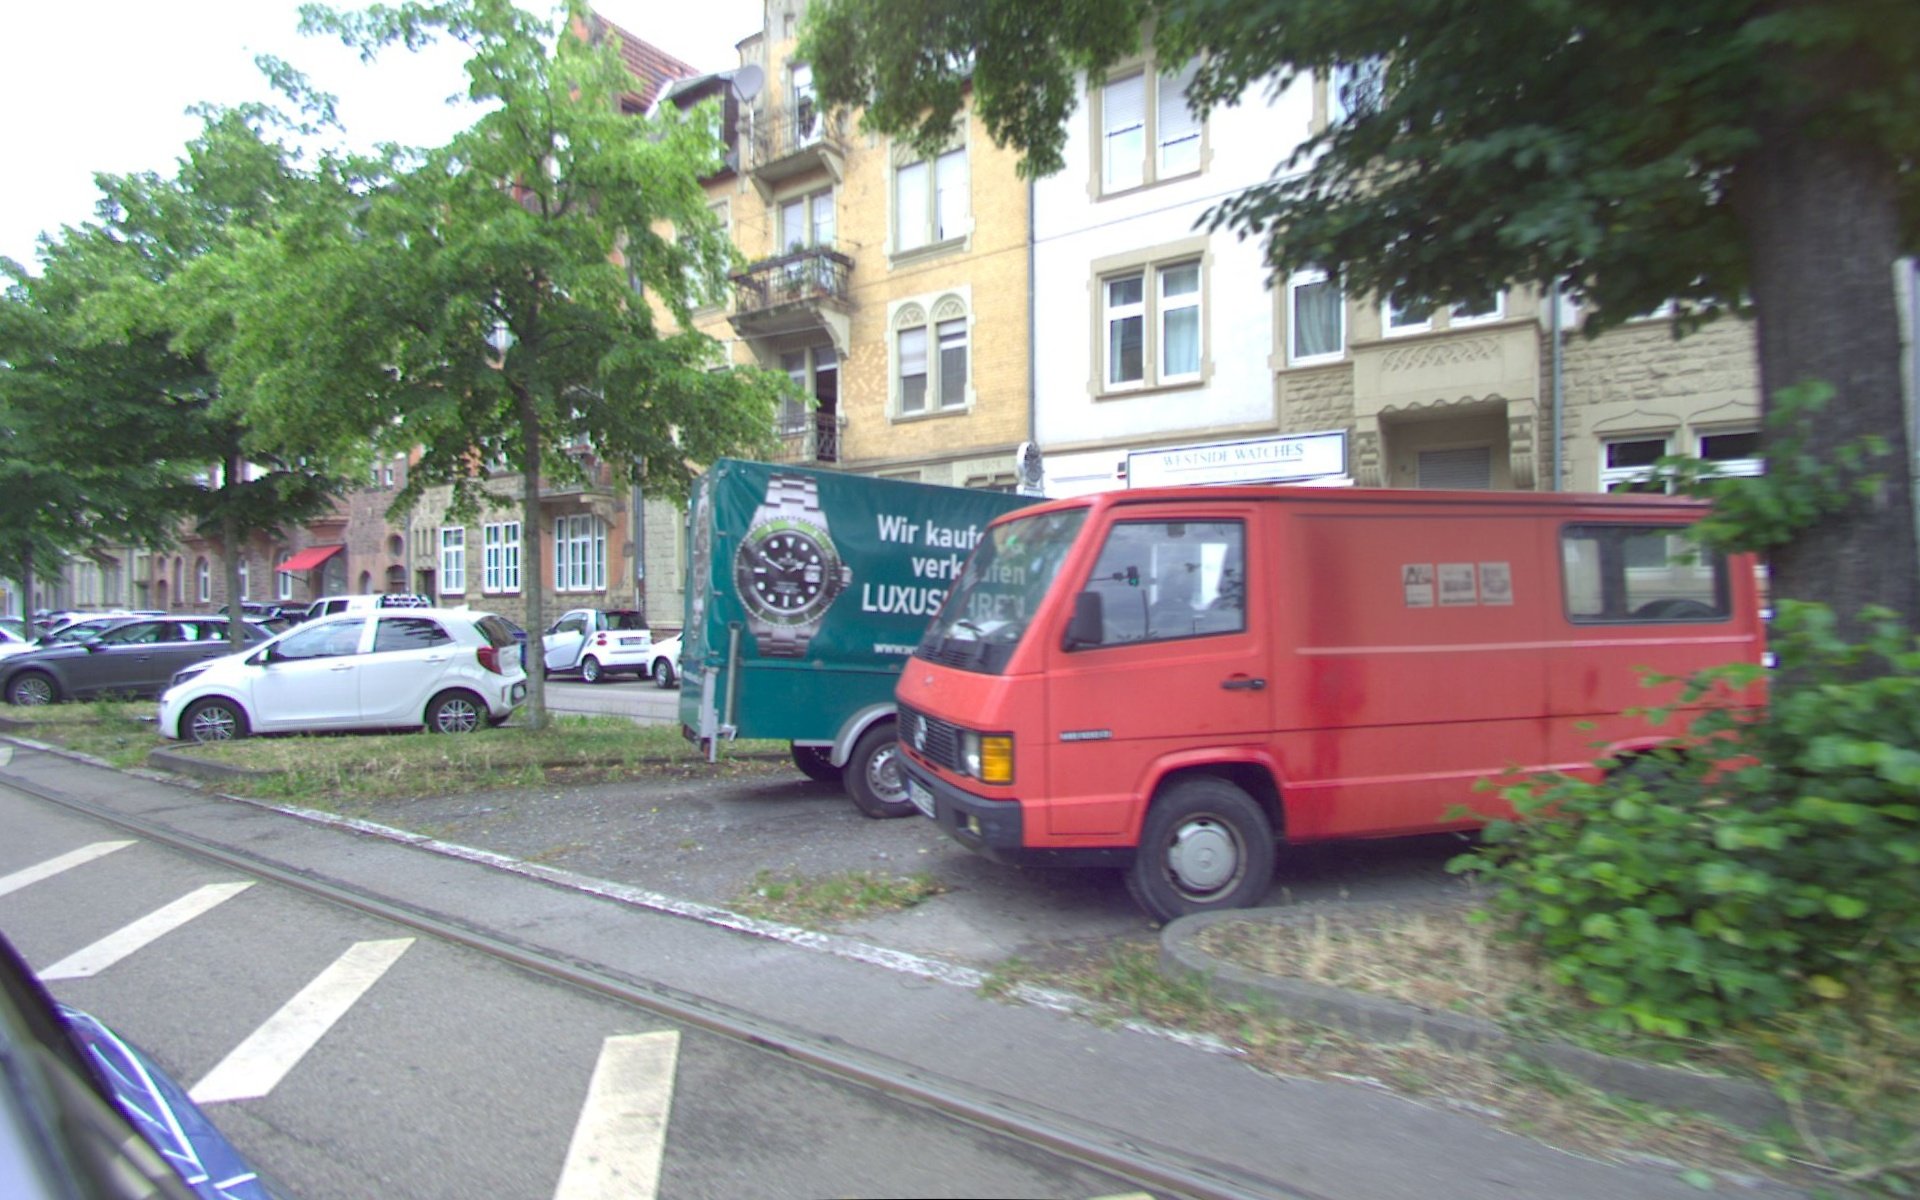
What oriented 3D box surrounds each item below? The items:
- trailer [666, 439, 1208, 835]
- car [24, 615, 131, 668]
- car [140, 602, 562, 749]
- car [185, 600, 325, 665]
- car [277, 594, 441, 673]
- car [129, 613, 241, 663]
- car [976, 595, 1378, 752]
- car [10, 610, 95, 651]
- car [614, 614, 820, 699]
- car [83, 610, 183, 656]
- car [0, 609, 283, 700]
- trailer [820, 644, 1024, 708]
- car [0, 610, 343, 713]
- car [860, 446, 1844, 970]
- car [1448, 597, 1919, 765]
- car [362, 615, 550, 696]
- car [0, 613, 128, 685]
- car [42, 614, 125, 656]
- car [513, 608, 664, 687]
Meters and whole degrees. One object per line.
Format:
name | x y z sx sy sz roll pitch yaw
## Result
trailer | -0.236 0.223 7.613 3.607 2.362 1.937 0 -1 -22
car | -27.575 1.238 31.603 3.874 1.515 1.630 0 0 35
car | -6.701 0.776 11.568 3.799 1.474 1.694 0 -1 -13
car | -21.257 0.910 30.447 5.105 1.795 1.798 0 0 35
car | -16.280 0.829 27.318 5.081 1.967 1.865 0 0 35
car | -26.228 1.243 34.206 4.543 1.553 1.726 0 0 35
car | 2.218 0.656 10.762 3.874 1.393 1.630 0 0 35
car | -38.918 1.253 43.364 4.310 1.641 1.754 0 0 35
car | -4.689 1.005 19.349 3.913 1.454 1.621 -1 0 34
car | -31.094 1.190 38.015 4.543 1.639 1.726 0 0 35
car | -14.825 0.901 17.692 4.609 1.446 1.904 0 -1 -15
trailer | -0.641 1.193 16.476 3.068 0.899 1.442 -1 -2 34
car | -12.314 0.890 15.751 4.268 1.446 1.904 0 -1 -13
car | 1.971 0.410 5.451 4.686 1.989 1.965 0 -1 -16
car | 7.573 0.714 10.263 4.558 1.454 1.621 -1 0 34
car | -9.846 1.010 19.683 3.874 1.393 1.630 0 0 35
car | -20.956 1.049 21.995 4.048 1.495 1.802 -1 0 -14
car | -35.164 1.355 40.587 3.713 1.571 1.648 0 0 35
car | -7.965 0.962 21.680 2.943 1.562 1.621 -1 0 34
